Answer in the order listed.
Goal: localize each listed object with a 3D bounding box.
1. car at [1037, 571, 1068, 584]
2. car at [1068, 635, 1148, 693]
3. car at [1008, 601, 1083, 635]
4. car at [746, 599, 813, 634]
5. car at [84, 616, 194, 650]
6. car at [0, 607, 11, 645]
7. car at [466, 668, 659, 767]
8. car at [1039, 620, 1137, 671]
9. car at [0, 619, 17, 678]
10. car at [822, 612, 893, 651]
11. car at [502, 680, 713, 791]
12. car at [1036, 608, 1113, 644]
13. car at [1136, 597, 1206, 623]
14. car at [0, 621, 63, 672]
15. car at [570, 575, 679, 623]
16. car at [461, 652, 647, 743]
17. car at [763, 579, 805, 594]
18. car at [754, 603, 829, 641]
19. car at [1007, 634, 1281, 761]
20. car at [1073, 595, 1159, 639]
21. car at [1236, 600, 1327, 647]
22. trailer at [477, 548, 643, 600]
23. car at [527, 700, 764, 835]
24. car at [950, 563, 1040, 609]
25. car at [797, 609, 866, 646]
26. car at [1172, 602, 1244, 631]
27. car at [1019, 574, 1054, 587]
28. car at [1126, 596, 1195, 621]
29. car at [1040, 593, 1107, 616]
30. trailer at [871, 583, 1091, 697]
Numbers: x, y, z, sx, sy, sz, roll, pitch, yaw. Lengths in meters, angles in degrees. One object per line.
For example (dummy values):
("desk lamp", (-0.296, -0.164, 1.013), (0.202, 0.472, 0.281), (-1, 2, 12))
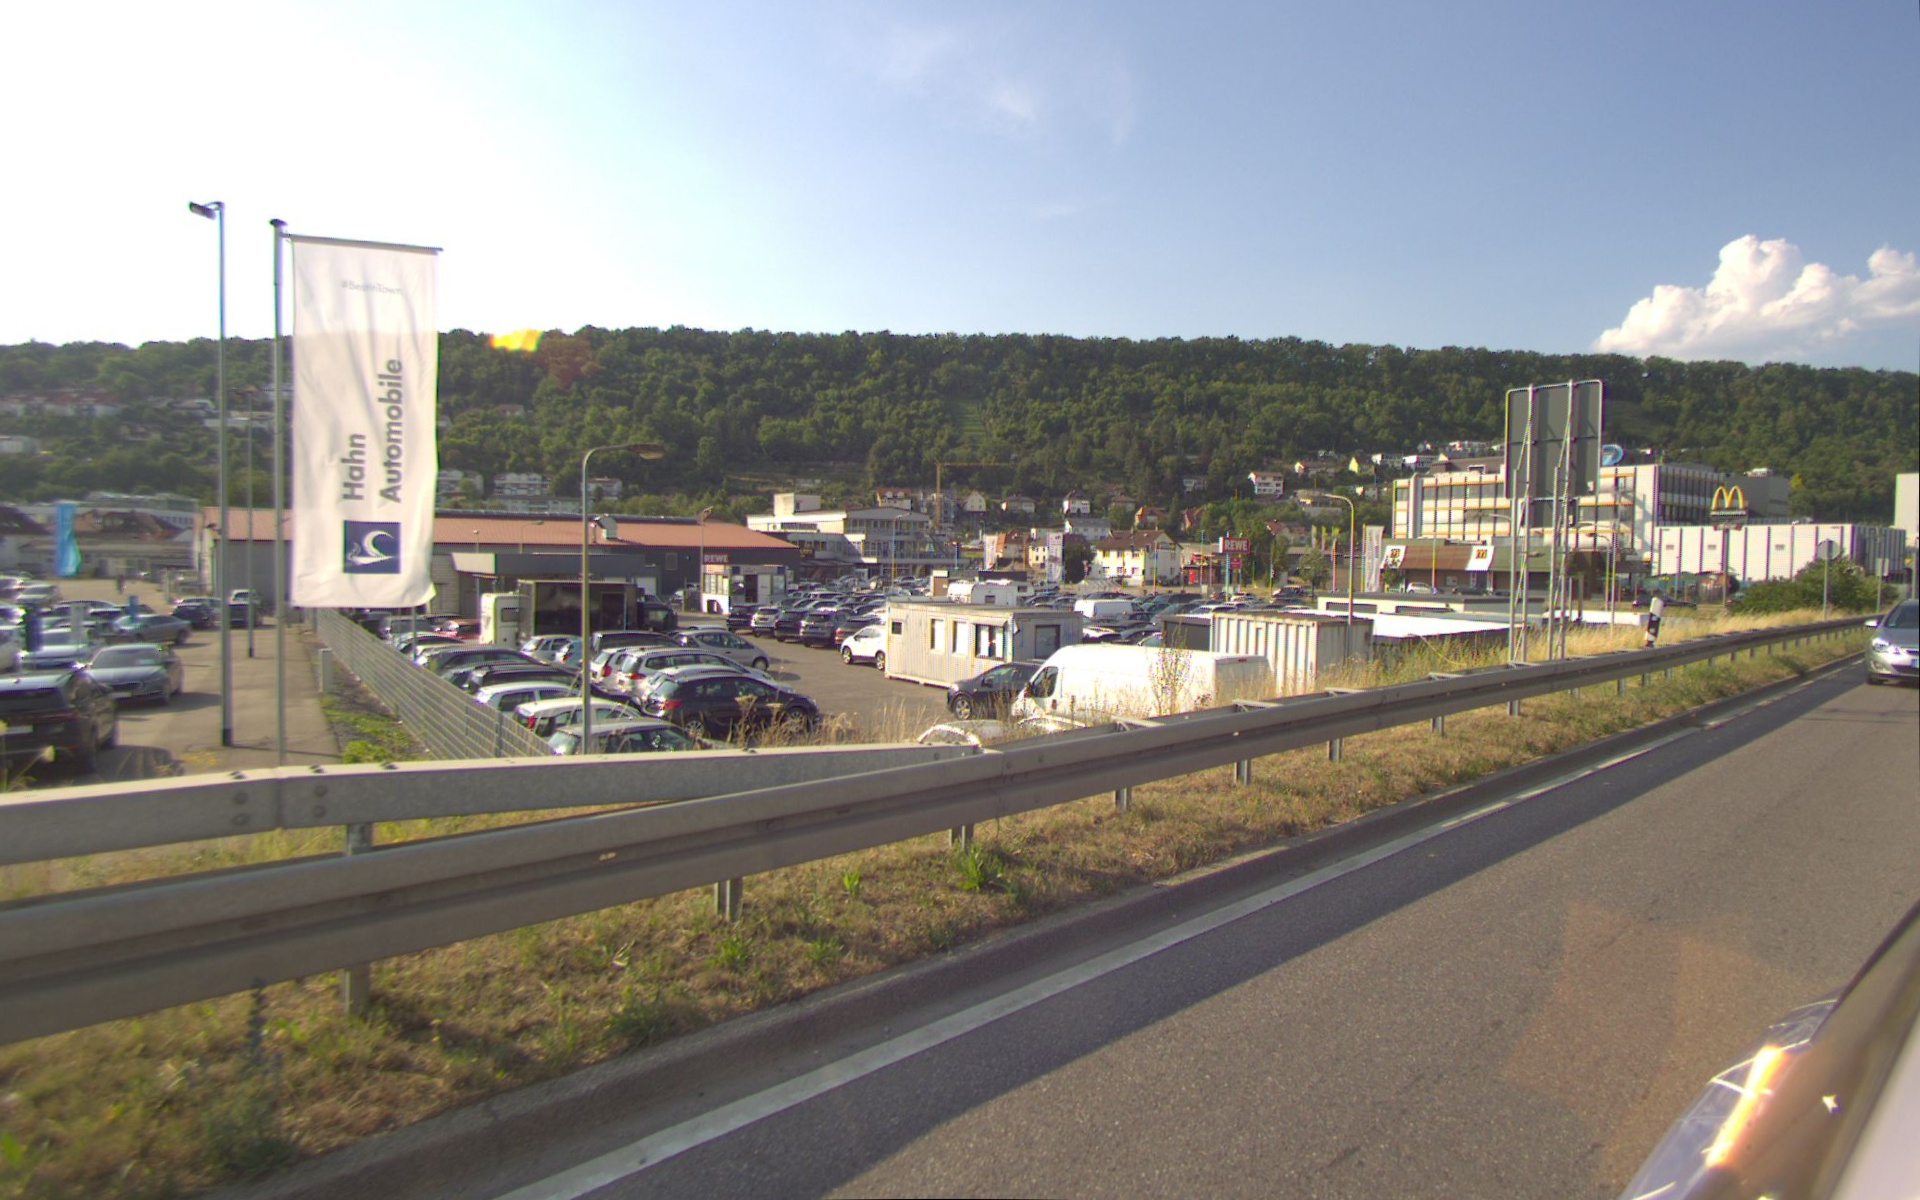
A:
("car", (11.974, -2.899, 130.567), (3.933, 1.676, 1.788), (-2, 1, -43))
("car", (5.132, 2.140, 34.822), (1.709, 1.667, 3.743), (0, 1, 25))
("car", (4.664, 0.932, 54.852), (3.928, 1.660, 1.759), (-2, 1, -39))
("car", (-9.588, 0.859, 53.927), (1.750, 1.705, 3.642), (-1, 1, 25))
("car", (-36.875, 1.455, 45.580), (1.592, 1.304, 3.998), (-1, 1, 3))
("car", (-43.354, 1.185, 42.855), (1.855, 1.656, 4.429), (-1, 1, 9))
("car", (-8.586, 2.468, 21.985), (3.601, 1.631, 1.601), (-2, 1, -37))
("car", (5.084, 1.771, 40.517), (1.858, 1.757, 3.679), (-2, 1, -36))
("car", (-32.368, 1.628, 32.865), (1.890, 1.883, 4.001), (-1, 1, -34))
("car", (-4.624, 1.404, 46.318), (1.662, 1.589, 3.748), (-1, 1, 22))
("car", (-6.903, 2.571, 19.946), (3.601, 1.631, 1.601), (-2, 1, -37))
("car", (5.999, 1.339, 52.983), (3.928, 1.660, 1.759), (-2, 1, -39))
("car", (14.013, 0.636, 67.278), (4.388, 1.585, 1.764), (-1, 1, -25))
("car", (-35.070, 1.718, 37.842), (1.723, 1.661, 3.966), (-1, 1, -34))
("car", (-18.235, -0.099, 55.113), (5.229, 2.468, 1.999), (-2, 1, -37))
("car", (-9.641, 2.250, 24.131), (3.841, 1.715, 1.602), (-2, 1, -35))
("car", (-19.829, -1.533, 114.168), (4.509, 1.607, 1.834), (-2, 4, -43))
("car", (-8.369, 1.075, 50.461), (1.755, 1.705, 3.633), (0, 2, 31))
("car", (3.678, 1.886, 21.472), (1.964, 2.039, 5.895), (-2, 1, -38))
("car", (8.903, 0.910, 57.602), (5.202, 2.274, 1.759), (-2, 1, -39))
("car", (15.269, 1.075, 47.905), (4.741, 1.976, 1.759), (-2, 1, -39))
("trailer", (-16.782, -1.106, 42.656), (6.168, 2.047, 1.999), (-2, 1, -37))
("car", (-5.387, 2.790, 17.608), (1.597, 1.631, 3.610), (0, 1, 45))
("car", (2.063, -0.840, 58.757), (5.371, 2.581, 1.759), (-2, 1, -39))
("car", (-6.110, 1.268, 48.454), (1.662, 1.589, 3.748), (-1, 1, 22))
("car", (15.298, 0.964, 62.346), (4.741, 1.585, 1.759), (-2, 1, -39))
("car", (9.532, -2.438, 125.936), (4.268, 1.582, 1.834), (-2, 4, -43))
("car", (13.791, 0.565, 69.739), (4.386, 1.585, 1.765), (-1, 1, -20))
("car", (8.049, 0.323, 71.982), (4.386, 1.478, 1.764), (-1, 1, -13))
("trailer", (0.472, 1.143, 34.255), (3.297, 3.364, 7.902), (-2, 1, -37))
